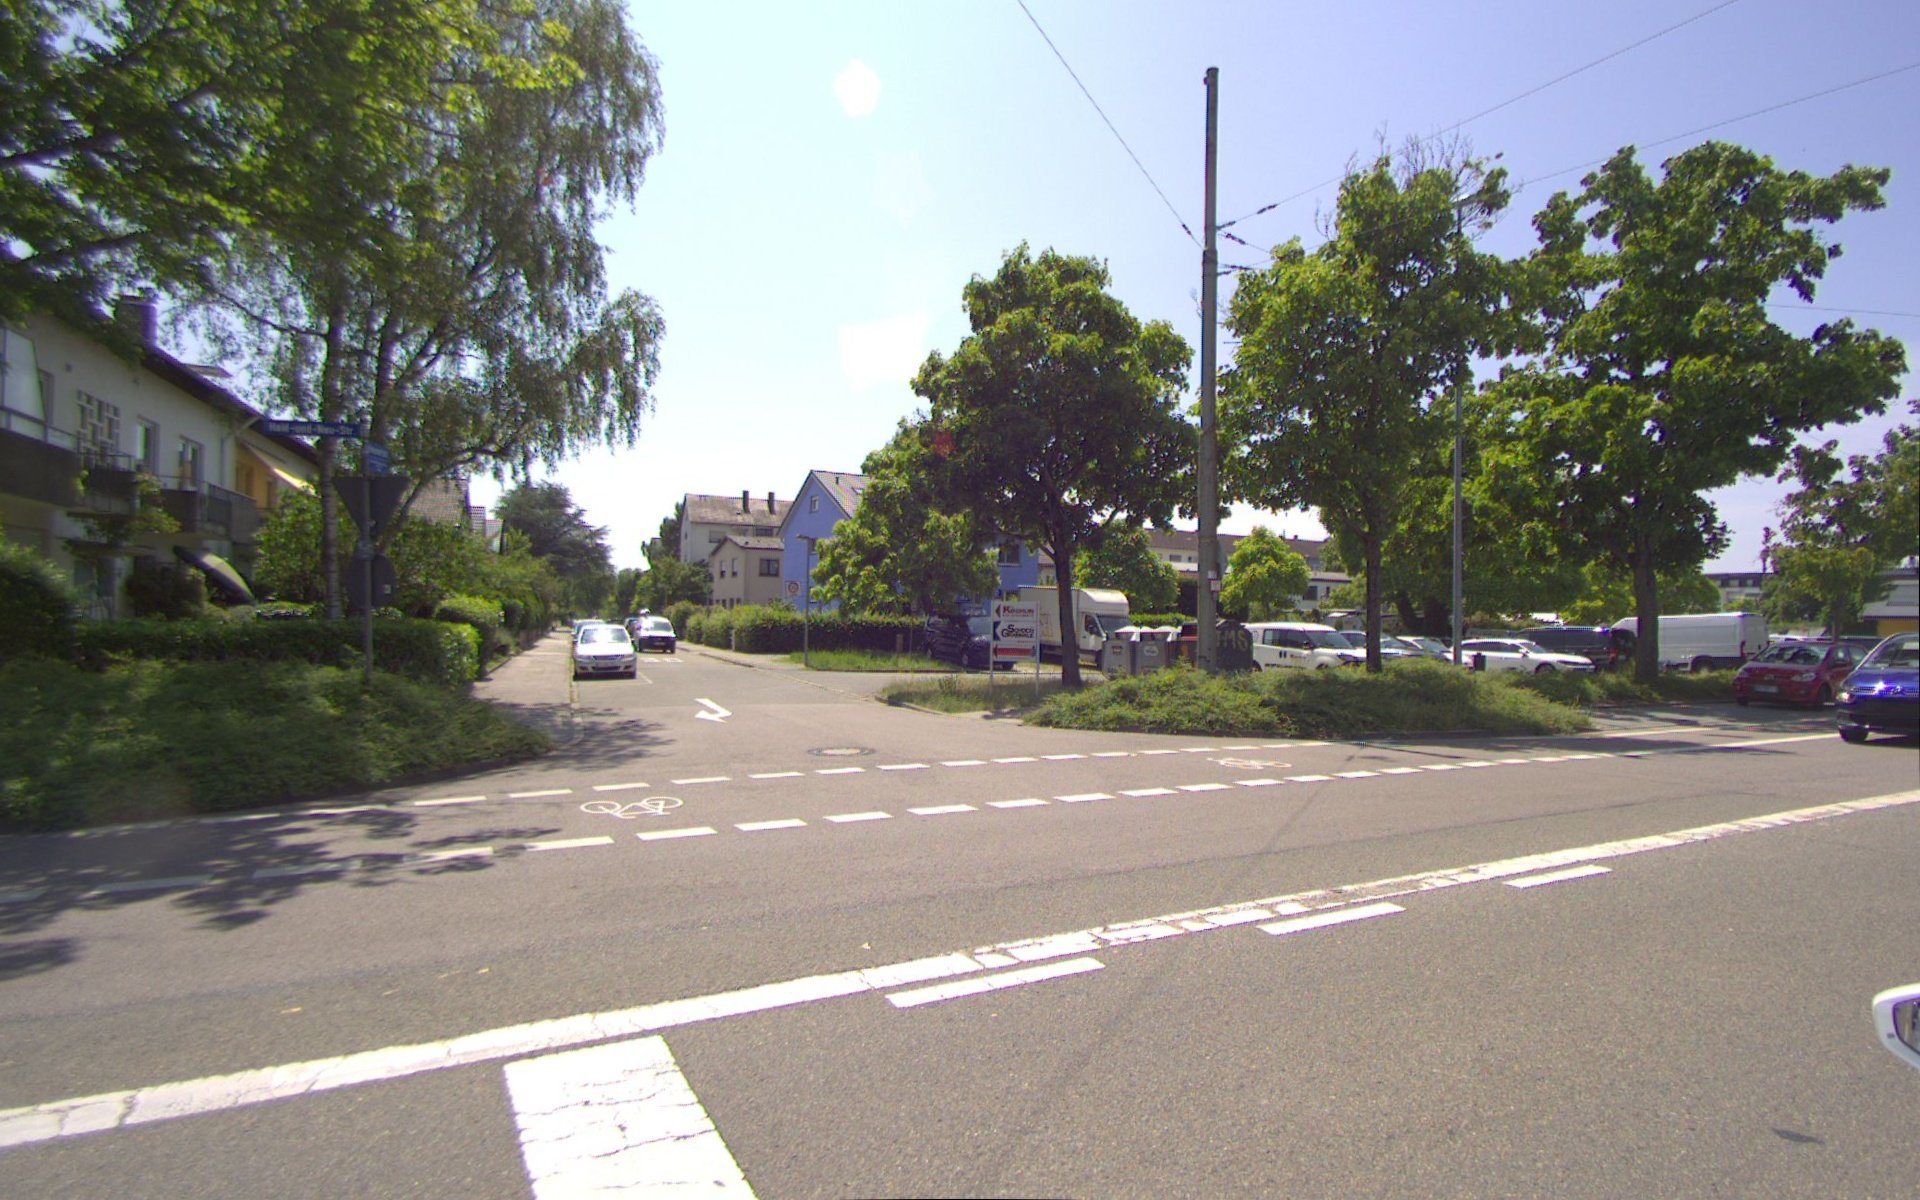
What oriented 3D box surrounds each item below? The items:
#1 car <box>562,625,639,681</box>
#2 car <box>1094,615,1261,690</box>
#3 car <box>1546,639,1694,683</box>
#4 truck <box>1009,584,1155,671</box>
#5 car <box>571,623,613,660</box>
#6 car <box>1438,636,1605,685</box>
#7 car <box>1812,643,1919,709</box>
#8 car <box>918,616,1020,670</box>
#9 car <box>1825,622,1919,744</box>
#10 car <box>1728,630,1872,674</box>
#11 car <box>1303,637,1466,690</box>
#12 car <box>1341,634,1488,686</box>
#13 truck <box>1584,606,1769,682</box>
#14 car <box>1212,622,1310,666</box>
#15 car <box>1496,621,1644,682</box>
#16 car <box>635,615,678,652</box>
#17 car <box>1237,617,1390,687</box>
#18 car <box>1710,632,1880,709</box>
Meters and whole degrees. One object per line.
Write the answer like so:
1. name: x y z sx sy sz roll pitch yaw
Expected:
1. car: -10.100 1.441 28.098 1.526 1.412 3.881 2 -2 -27
2. car: 5.819 1.367 27.443 2.037 1.881 4.427 2 -2 -30
3. car: 24.076 2.198 36.802 1.835 1.430 4.189 2 -2 -31
4. truck: 4.856 1.074 41.422 2.126 3.270 6.941 2 -1 -31
5. car: -15.168 1.672 41.344 1.523 1.412 3.889 1 -2 -21
6. car: 19.386 2.052 34.893 2.035 1.508 4.738 2 -2 -31
7. car: 23.420 1.854 25.137 4.714 1.446 1.711 2 -1 -30
8. car: 0.267 1.595 38.357 1.915 1.844 4.690 2 -1 -27
9. car: 14.934 1.214 15.087 4.019 1.678 1.729 2 -2 -30
10. car: 37.839 2.305 45.383 1.776 1.837 4.695 2 -2 -31
11. car: 12.890 1.886 30.733 2.059 1.422 4.171 2 -2 -33
12. car: 14.733 1.918 32.772 1.907 1.528 4.107 2 -2 -27
13. truck: 28.380 1.701 40.032 2.402 2.796 5.556 2 -2 -28
14. car: 13.815 1.992 46.364 1.948 1.844 4.108 2 -1 -30
15. car: 21.747 1.796 35.979 1.835 2.021 4.189 2 -2 -31
16. car: -14.981 1.635 49.430 1.715 1.729 4.215 1 -2 -21
17. car: 10.212 1.458 29.322 1.652 1.860 4.251 2 -2 -27
18. car: 18.870 1.579 22.680 3.680 1.566 1.665 2 -1 -28
